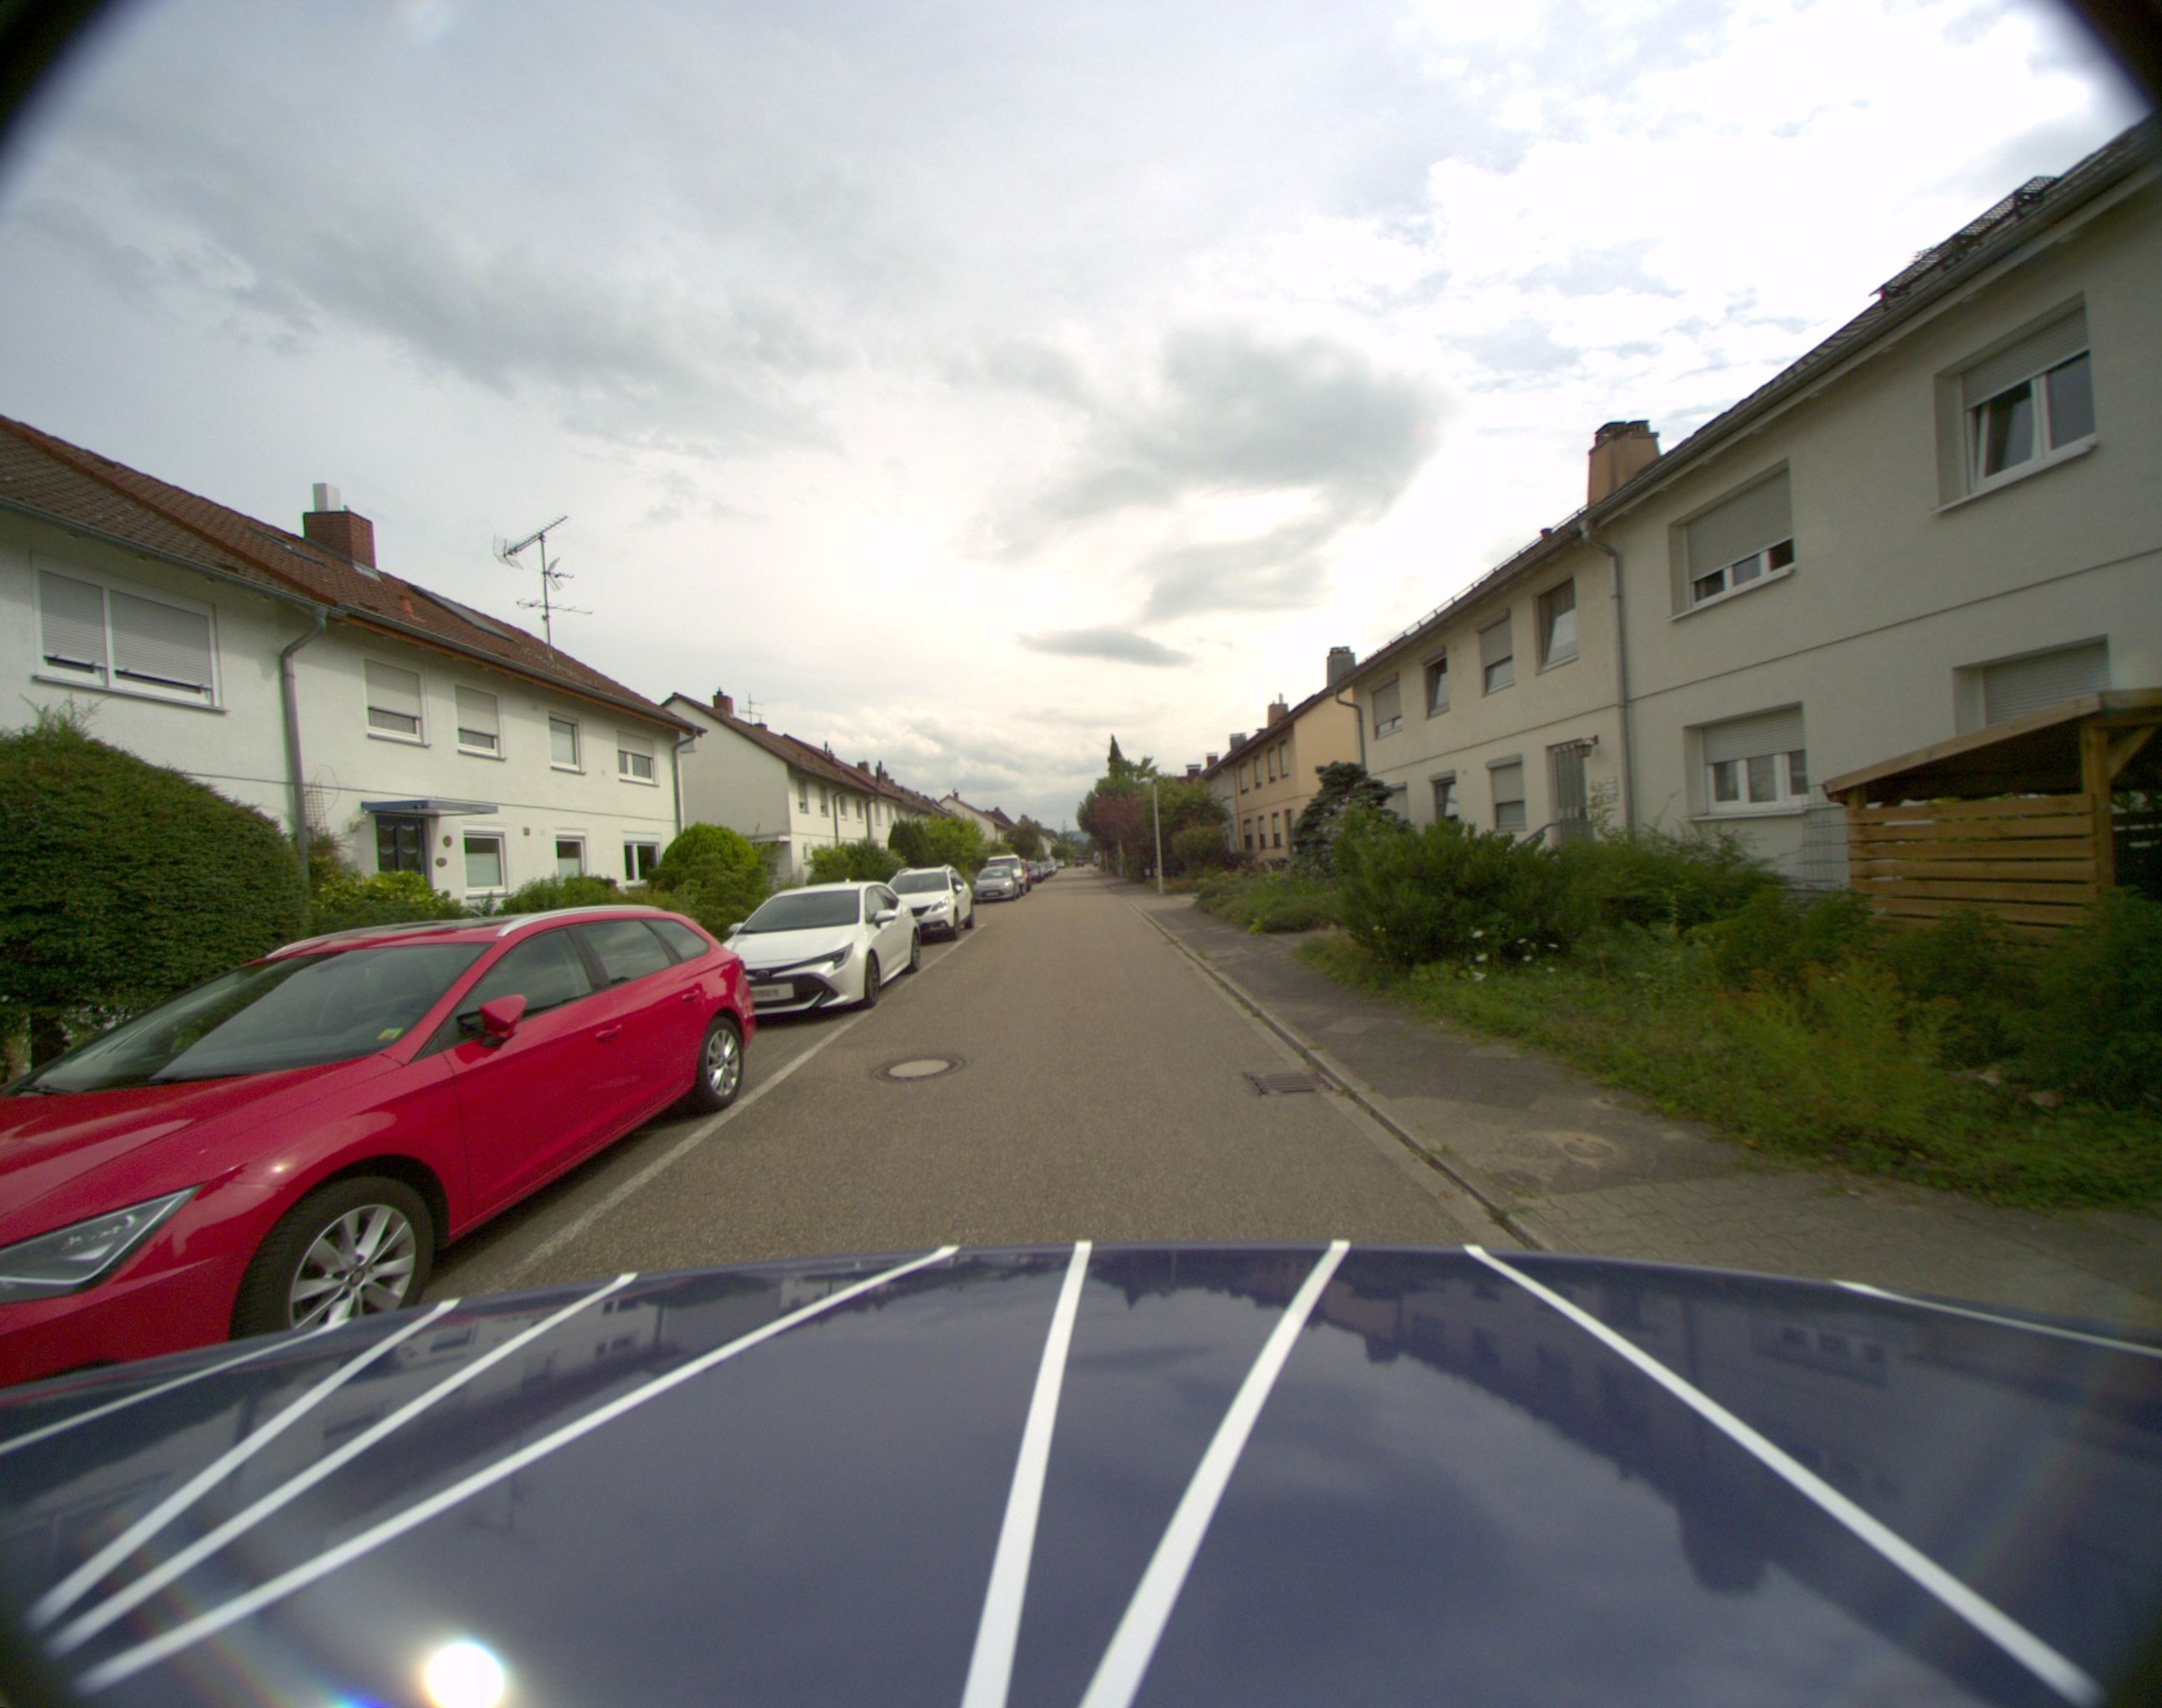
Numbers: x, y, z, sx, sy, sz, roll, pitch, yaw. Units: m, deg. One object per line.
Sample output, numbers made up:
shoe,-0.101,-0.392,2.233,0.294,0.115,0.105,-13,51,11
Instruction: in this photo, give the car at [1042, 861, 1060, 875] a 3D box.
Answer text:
car,-3.475,1.589,88.549,1.746,1.462,4.217,-3,0,1

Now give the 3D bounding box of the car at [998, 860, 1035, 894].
car,-3.502,1.222,41.961,1.815,1.641,4.409,-3,0,-4

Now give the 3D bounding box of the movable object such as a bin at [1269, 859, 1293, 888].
movable object such as a bin,7.197,0.701,27.351,0.654,1.015,0.633,-3,0,0

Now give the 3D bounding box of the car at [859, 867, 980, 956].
car,-3.411,1.146,16.772,1.718,1.534,3.973,-5,0,-1

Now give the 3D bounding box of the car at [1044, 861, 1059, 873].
car,-3.630,1.600,94.012,1.697,1.356,4.698,-4,0,-1

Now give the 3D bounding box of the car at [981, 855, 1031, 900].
car,-3.572,1.096,36.961,2.026,1.936,4.746,-3,0,-2

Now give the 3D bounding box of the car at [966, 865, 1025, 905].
car,-3.490,1.239,31.858,1.905,1.451,4.129,-3,0,0

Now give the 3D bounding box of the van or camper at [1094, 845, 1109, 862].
van or camper,3.460,-0.025,131.390,2.346,2.719,5.748,-4,0,1

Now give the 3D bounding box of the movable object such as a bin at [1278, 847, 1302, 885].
movable object such as a bin,7.722,0.439,28.142,0.654,1.377,0.633,-3,0,0

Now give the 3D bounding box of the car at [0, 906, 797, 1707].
car,-3.269,1.214,3.743,1.778,1.427,4.826,-5,0,0

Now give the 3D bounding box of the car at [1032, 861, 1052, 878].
car,-3.614,1.406,70.438,1.737,1.419,4.125,-4,0,-2

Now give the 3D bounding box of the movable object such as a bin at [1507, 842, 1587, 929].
movable object such as a bin,6.963,0.464,11.386,0.698,1.232,0.734,-3,0,0

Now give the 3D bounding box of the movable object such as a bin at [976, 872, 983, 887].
movable object such as a bin,-7.066,1.757,52.933,0.405,1.027,0.790,-4,0,-9

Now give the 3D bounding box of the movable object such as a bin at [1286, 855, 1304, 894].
movable object such as a bin,7.737,0.735,27.464,0.411,1.377,0.610,-3,0,0

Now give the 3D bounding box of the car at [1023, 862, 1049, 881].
car,-3.675,1.411,62.572,1.872,1.399,4.767,-5,0,-2

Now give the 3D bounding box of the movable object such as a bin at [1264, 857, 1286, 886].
movable object such as a bin,7.130,0.640,27.950,0.654,0.997,0.542,-3,0,0

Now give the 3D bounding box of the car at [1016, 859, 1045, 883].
car,-3.681,1.217,56.131,1.872,1.643,4.463,-4,0,-2

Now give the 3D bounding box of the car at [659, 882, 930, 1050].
car,-3.256,1.182,9.758,1.843,1.404,4.636,-3,0,-3

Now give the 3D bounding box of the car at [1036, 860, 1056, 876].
car,-3.462,1.411,76.096,1.754,1.458,4.647,-4,0,0

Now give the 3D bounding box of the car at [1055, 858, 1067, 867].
car,-3.730,1.612,141.233,1.999,1.589,3.999,-4,0,-3
